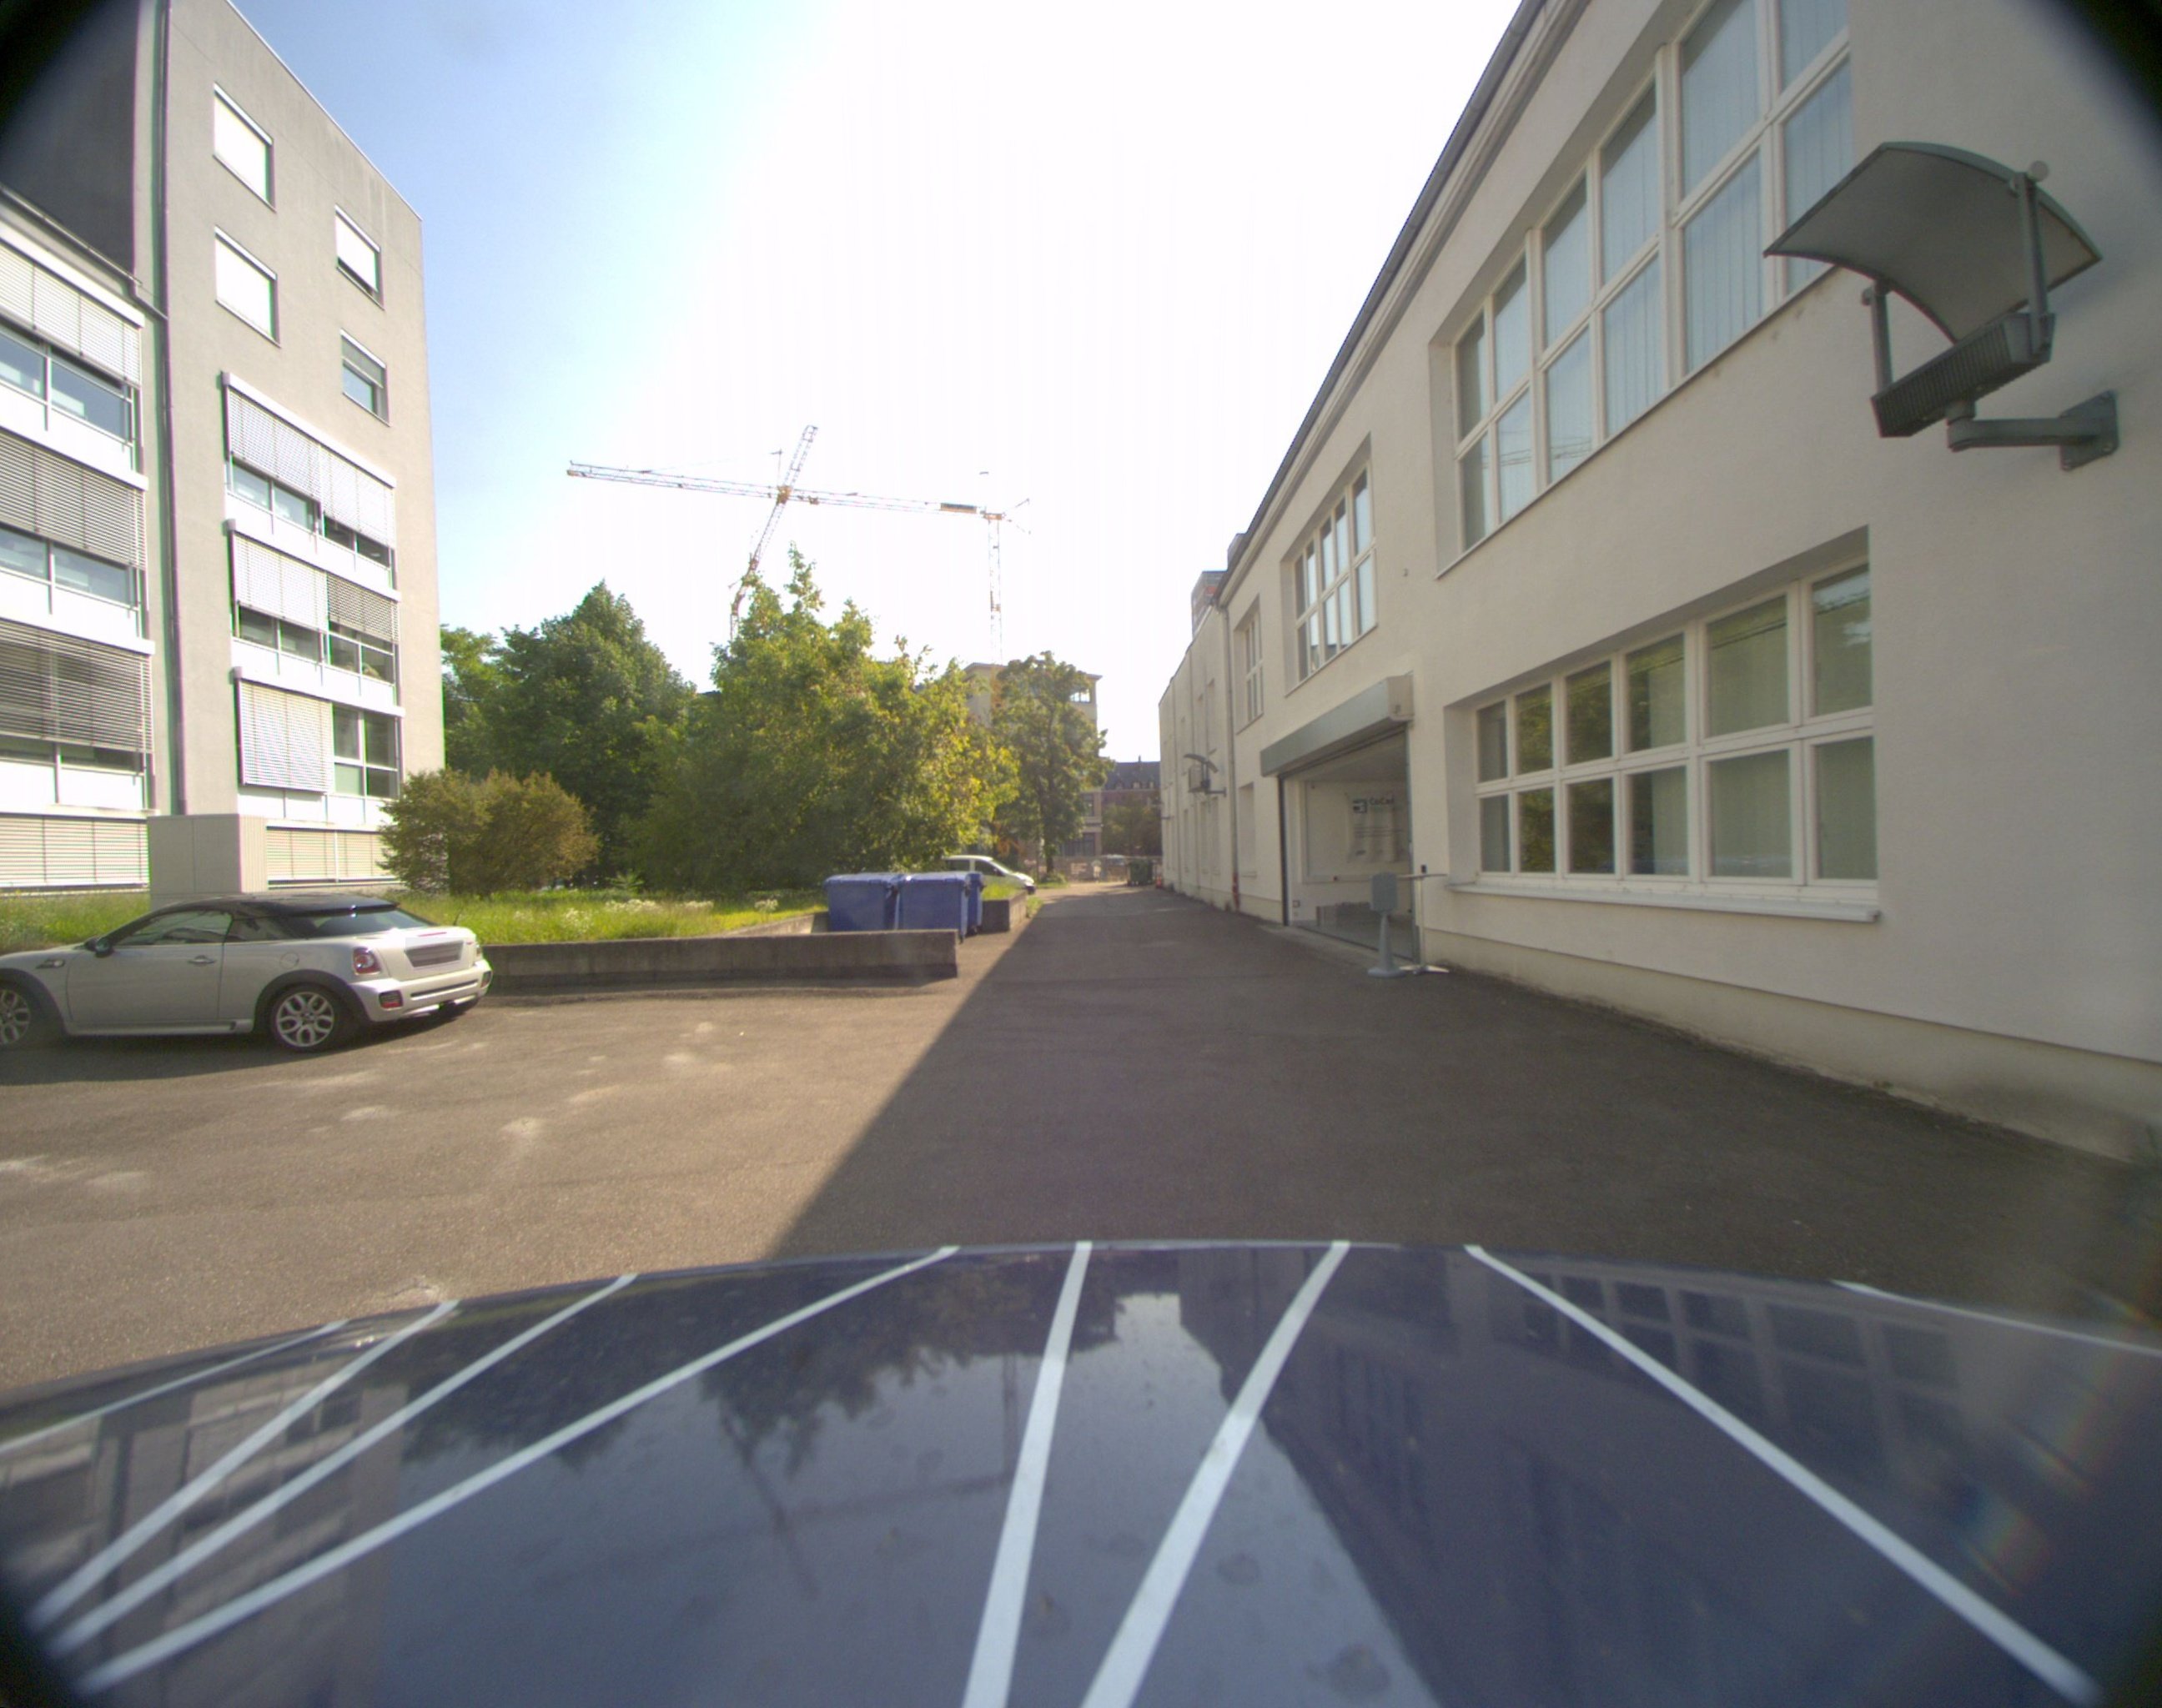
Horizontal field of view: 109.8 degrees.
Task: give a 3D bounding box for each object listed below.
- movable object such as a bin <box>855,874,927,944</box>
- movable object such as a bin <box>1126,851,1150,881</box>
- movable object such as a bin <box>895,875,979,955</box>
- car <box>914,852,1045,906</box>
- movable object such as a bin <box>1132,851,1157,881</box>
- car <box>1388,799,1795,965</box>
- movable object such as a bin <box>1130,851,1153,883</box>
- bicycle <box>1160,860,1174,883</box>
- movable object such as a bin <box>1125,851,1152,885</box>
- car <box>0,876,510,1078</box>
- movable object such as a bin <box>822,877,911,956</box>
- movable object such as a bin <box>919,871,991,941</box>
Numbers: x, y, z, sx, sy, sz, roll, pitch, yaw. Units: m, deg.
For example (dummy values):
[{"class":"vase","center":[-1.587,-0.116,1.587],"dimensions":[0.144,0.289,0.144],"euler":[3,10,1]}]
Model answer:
[{"class":"movable object such as a bin","center":[-3.943,1.114,15.878],"dimensions":[1.230,1.333,1.076],"euler":[-2,1,-5]},{"class":"movable object such as a bin","center":[3.394,0.690,45.315],"dimensions":[1.184,1.696,1.376],"euler":[-2,1,-4]},{"class":"movable object such as a bin","center":[-2.639,1.109,14.121],"dimensions":[1.303,1.333,1.194],"euler":[-2,1,-1]},{"class":"car","center":[-4.100,0.990,31.273],"dimensions":[4.969,1.910,2.044],"euler":[-3,1,2]},{"class":"movable object such as a bin","center":[3.667,0.690,43.919],"dimensions":[1.184,1.696,1.376],"euler":[-2,1,-4]},{"class":"car","center":[7.503,0.377,11.571],"dimensions":[4.759,2.080,2.055],"euler":[-3,1,0]},{"class":"movable object such as a bin","center":[3.392,0.711,42.509],"dimensions":[1.183,1.696,1.395],"euler":[-2,1,4]},{"class":"bicycle","center":[4.776,0.974,42.245],"dimensions":[0.477,1.206,2.008],"euler":[-2,1,-2]},{"class":"movable object such as a bin","center":[3.083,0.736,40.707],"dimensions":[1.184,1.696,1.376],"euler":[-2,1,-4]},{"class":"car","center":[-8.025,1.075,7.309],"dimensions":[3.628,1.536,1.802],"euler":[2,1,-2]},{"class":"movable object such as a bin","center":[-3.969,1.137,14.160],"dimensions":[1.237,1.333,1.117],"euler":[-2,1,3]},{"class":"movable object such as a bin","center":[-2.608,1.063,15.873],"dimensions":[1.313,1.333,1.100],"euler":[-2,1,-3]}]
